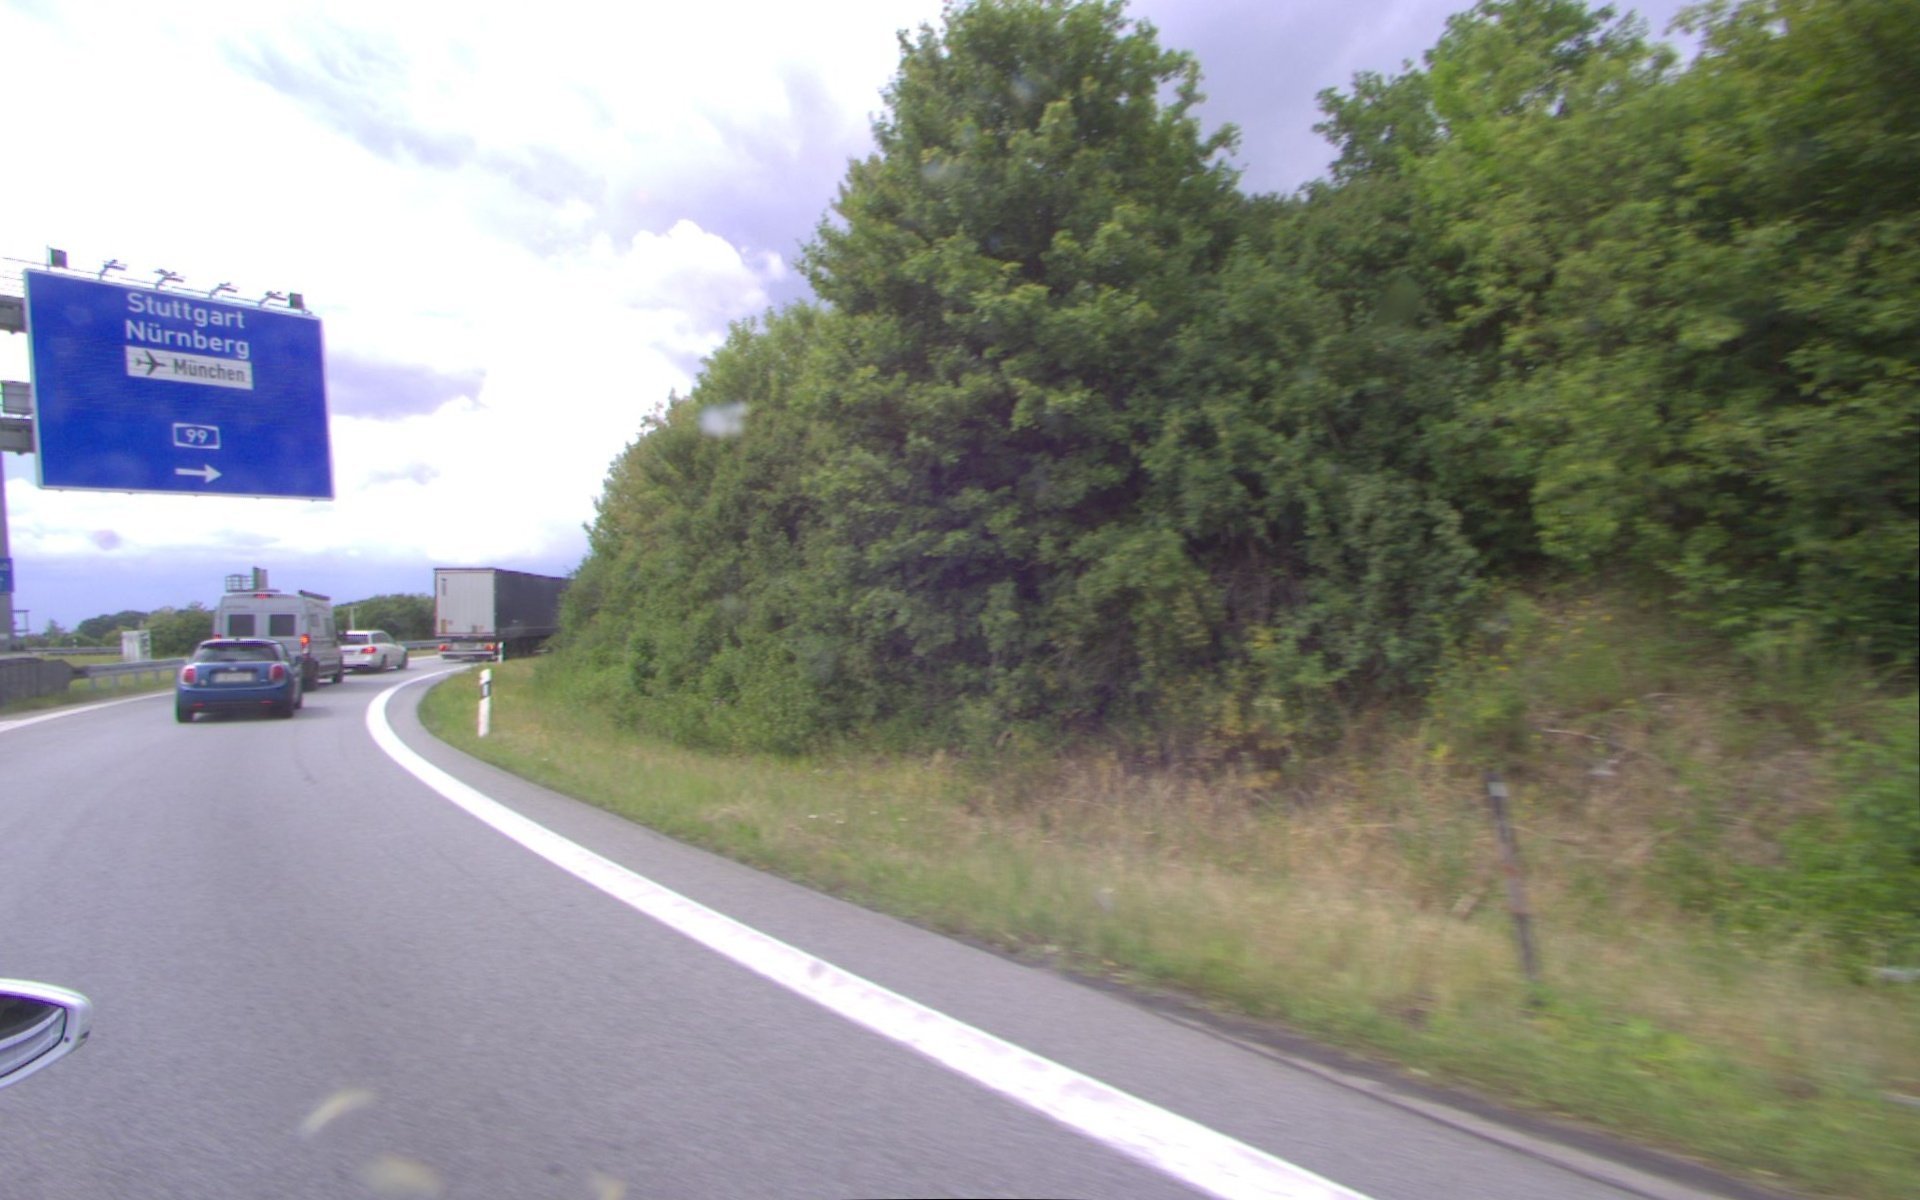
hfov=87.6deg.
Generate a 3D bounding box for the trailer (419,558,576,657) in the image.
[{"bbox_3d":[-22.310,0.444,49.471,3.277,4.247,13.029,-1,-1,-8],"label":"trailer"}]

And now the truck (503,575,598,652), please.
[{"bbox_3d":[-23.324,0.790,57.480,3.306,4.148,6.788,-1,-1,-7],"label":"truck"}]

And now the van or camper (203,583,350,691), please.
[{"bbox_3d":[-18.562,0.948,27.554,2.264,2.602,6.139,-1,0,-24],"label":"van or camper"}]

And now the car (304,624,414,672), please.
[{"bbox_3d":[-21.509,1.661,36.057,2.173,1.521,4.780,-1,-1,-16],"label":"car"}]

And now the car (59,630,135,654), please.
[{"bbox_3d":[-67.570,3.294,78.455,4.164,1.795,2.000,-1,-1,-3],"label":"car"}]

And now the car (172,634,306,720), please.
[{"bbox_3d":[-13.533,1.375,18.994,1.710,1.437,3.647,0,-2,-30],"label":"car"}]
